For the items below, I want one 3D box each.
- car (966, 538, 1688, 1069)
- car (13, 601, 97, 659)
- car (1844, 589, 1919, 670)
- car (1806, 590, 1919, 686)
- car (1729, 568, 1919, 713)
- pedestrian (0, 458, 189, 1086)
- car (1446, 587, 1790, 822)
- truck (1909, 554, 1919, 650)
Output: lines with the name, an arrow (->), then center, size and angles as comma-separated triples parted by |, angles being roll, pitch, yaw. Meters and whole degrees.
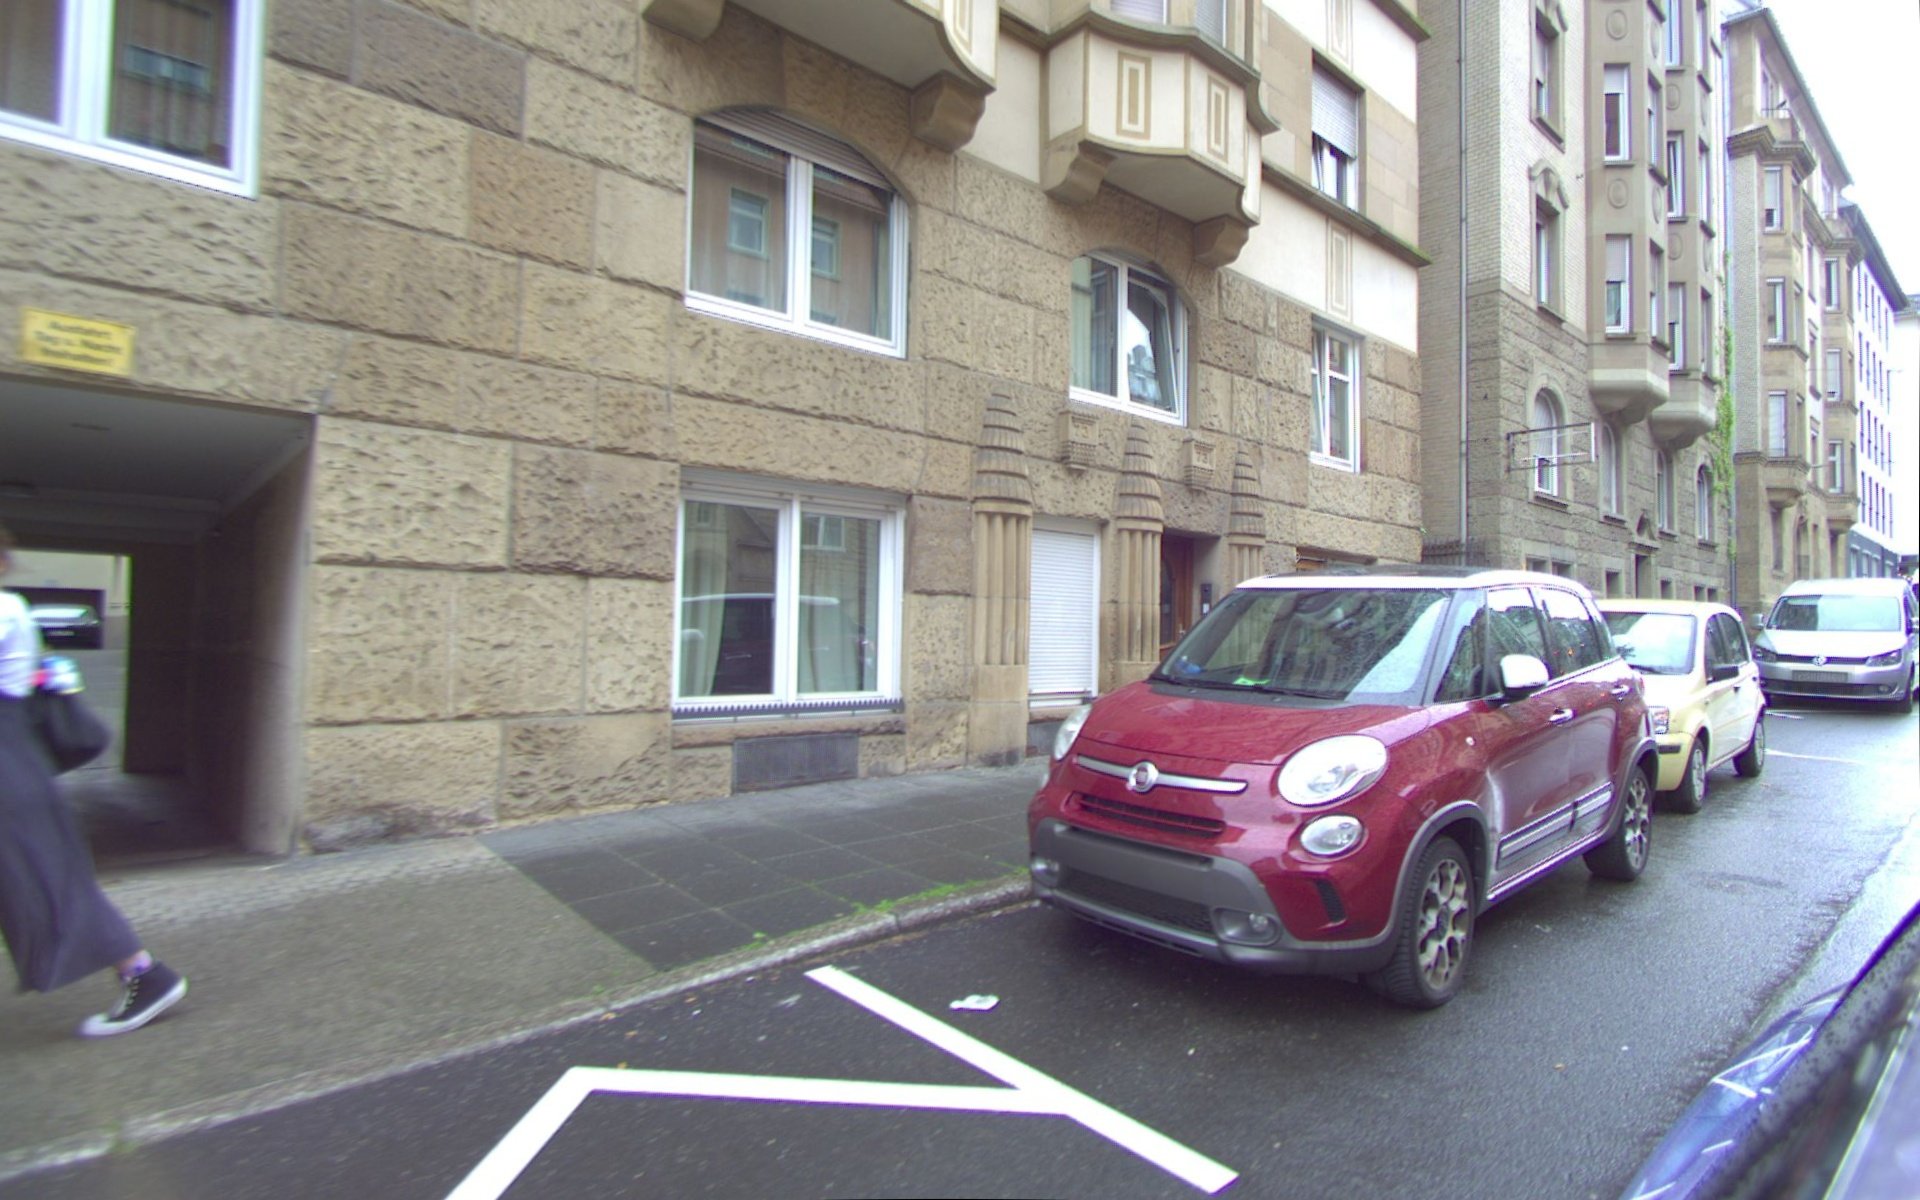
car -> 2.077, 0.626, 5.101 | 3.932, 1.619, 1.804 | 0, -1, -42
car -> -25.783, 0.806, 28.930 | 1.692, 1.541, 4.098 | 0, -1, -41
car -> 19.878, 0.566, 20.908 | 3.860, 1.549, 1.889 | 0, -1, -41
car -> 16.572, 0.618, 17.969 | 3.934, 1.549, 1.994 | 0, -1, -45
car -> 13.163, 0.517, 14.979 | 4.380, 1.825, 1.966 | 0, -1, -41
pedestrian -> -3.041, 0.483, 3.057 | 1.092, 1.770, 0.743 | 0, 0, -41
car -> 5.599, 0.691, 8.462 | 3.517, 1.549, 1.578 | 0, -1, -43
truck -> 28.565, 0.043, 28.346 | 6.036, 2.568, 2.233 | 0, -1, -41
